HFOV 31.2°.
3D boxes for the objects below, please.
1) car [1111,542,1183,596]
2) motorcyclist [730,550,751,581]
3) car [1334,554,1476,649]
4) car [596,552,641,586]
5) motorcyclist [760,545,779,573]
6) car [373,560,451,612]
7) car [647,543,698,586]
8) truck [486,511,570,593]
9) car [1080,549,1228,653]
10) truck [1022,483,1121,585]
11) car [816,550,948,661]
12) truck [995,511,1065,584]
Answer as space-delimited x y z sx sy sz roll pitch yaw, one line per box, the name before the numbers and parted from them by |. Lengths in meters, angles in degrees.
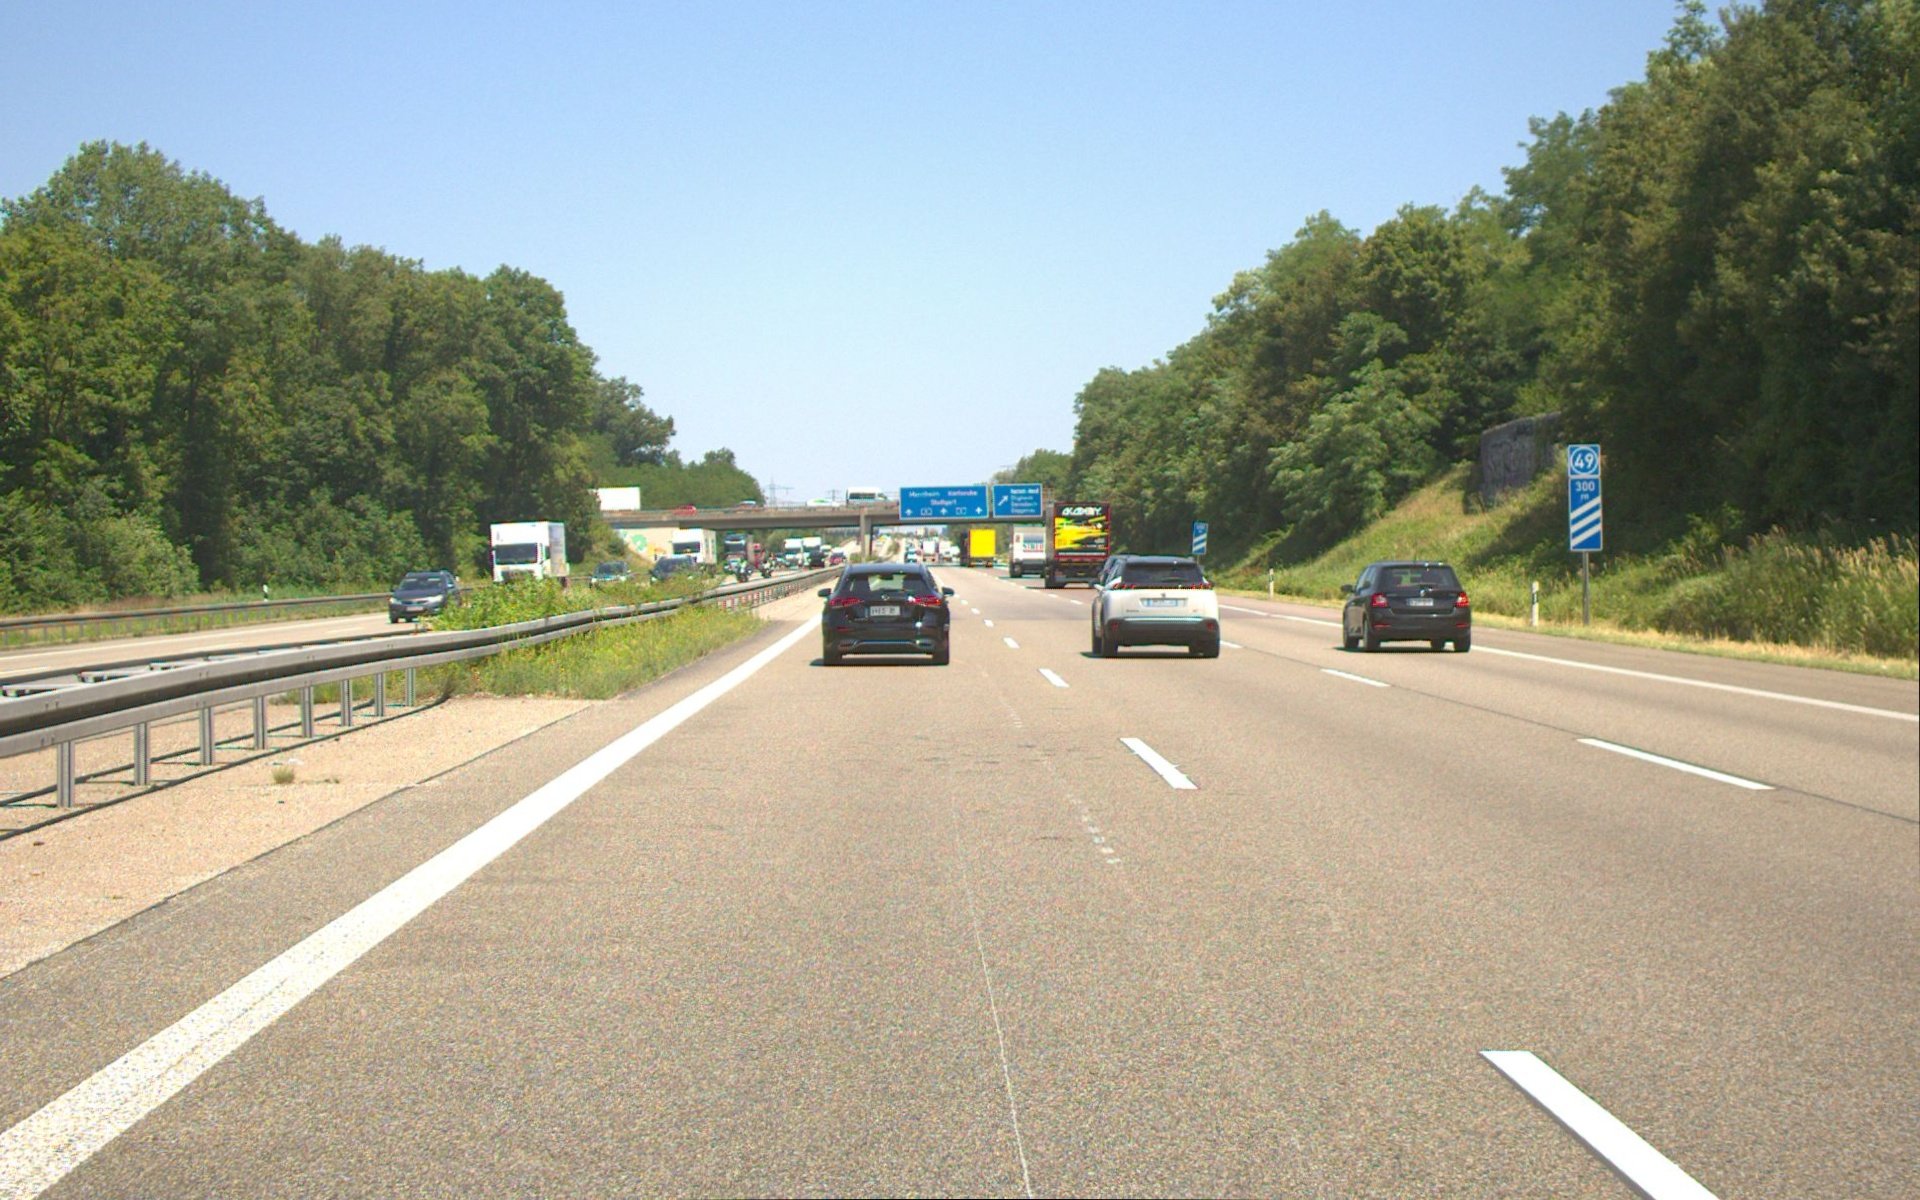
car | 6.385 -1.069 117.659 2.076 1.745 4.242 -1 1 -2
motorcyclist | -12.690 -1.994 198.813 1.152 1.809 1.027 -1 0 -1
car | 7.139 -0.008 55.492 1.789 1.456 3.949 0 1 0
car | -15.747 -1.435 158.638 1.799 1.527 4.242 0 1 -2
motorcyclist | -12.704 -2.736 229.322 1.152 1.809 1.027 -1 0 -1
car | -16.808 -0.447 105.623 1.799 1.527 4.679 0 1 -2
car | -11.550 -1.449 138.255 1.799 1.690 4.242 0 1 -1
truck | -20.260 -2.267 161.760 2.796 3.620 10.698 -1 1 -2
car | 2.936 -0.018 52.829 1.899 1.527 4.242 0 1 -2
truck | 5.187 -3.052 163.249 3.647 4.574 15.768 1 1 -2
car | -1.133 0.045 49.000 1.799 1.497 4.242 0 1 -2
truck | 4.526 -3.438 225.876 3.647 4.574 17.249 1 1 -2
